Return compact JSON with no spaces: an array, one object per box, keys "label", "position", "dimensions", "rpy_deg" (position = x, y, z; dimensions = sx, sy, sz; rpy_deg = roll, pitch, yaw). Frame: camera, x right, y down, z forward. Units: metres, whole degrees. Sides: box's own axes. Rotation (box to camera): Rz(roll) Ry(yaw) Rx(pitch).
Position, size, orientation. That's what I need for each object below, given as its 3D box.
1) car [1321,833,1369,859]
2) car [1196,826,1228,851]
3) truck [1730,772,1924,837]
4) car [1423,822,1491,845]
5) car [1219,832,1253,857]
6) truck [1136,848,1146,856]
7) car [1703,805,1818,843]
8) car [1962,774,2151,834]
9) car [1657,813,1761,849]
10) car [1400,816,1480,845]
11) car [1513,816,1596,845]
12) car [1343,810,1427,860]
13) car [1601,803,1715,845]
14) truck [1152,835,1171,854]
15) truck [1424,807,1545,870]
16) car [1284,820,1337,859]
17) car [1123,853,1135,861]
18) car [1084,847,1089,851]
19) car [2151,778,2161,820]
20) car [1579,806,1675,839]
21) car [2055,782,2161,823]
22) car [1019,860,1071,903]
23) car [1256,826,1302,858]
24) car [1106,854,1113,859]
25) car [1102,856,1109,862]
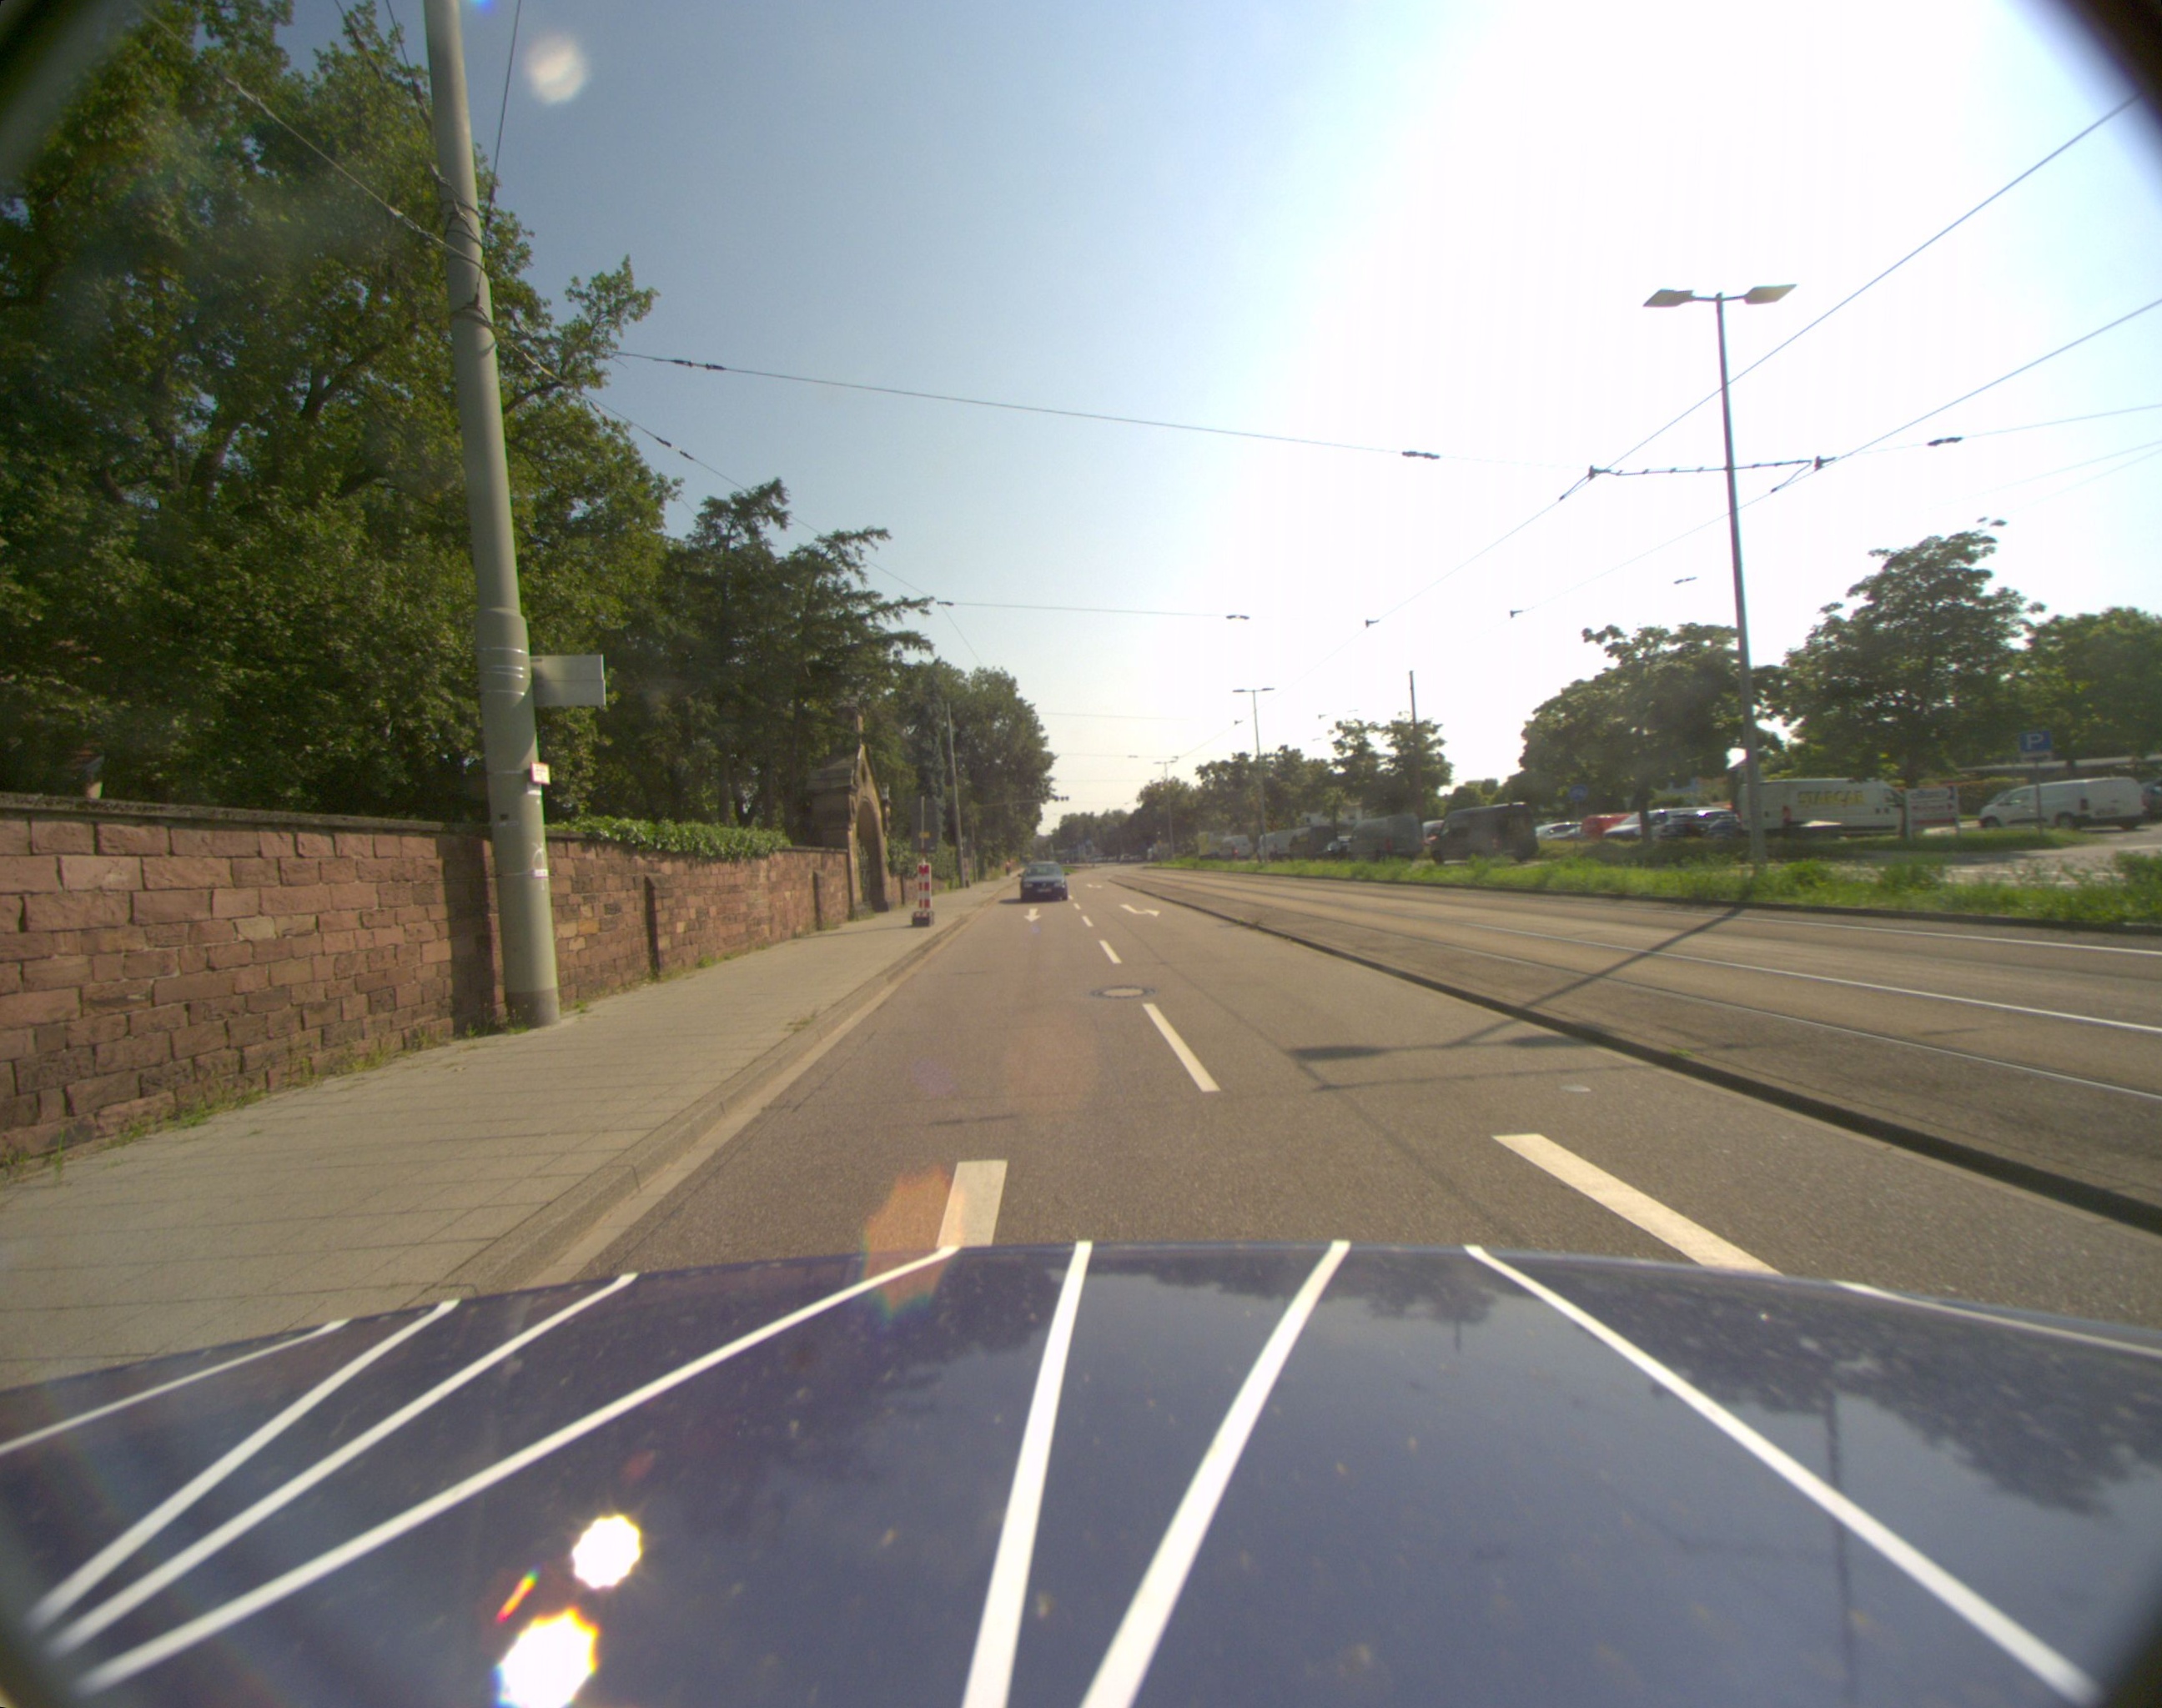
[{"label":"car","position":[17.527,-0.522,50.610],"dimensions":[1.749,1.543,3.833],"rpy_deg":[-5,0,0]},{"label":"car","position":[15.208,-1.745,88.794],"dimensions":[2.130,2.789,7.229],"rpy_deg":[-3,0,-2]},{"label":"truck","position":[28.922,-1.875,29.567],"dimensions":[5.505,2.160,2.259],"rpy_deg":[-3,1,-4]},{"label":"car","position":[27.406,-1.510,55.472],"dimensions":[3.998,1.442,1.857],"rpy_deg":[-3,1,-2]},{"label":"car","position":[16.132,-0.950,79.175],"dimensions":[2.149,2.444,4.830],"rpy_deg":[-3,0,-4]},{"label":"truck","position":[12.781,-0.466,160.994],"dimensions":[1.691,1.665,3.654],"rpy_deg":[-3,0,-2]},{"label":"car","position":[28.540,-1.235,31.973],"dimensions":[3.414,1.418,1.633],"rpy_deg":[-3,1,-4]},{"label":"car","position":[35.171,-1.733,27.623],"dimensions":[1.986,1.747,4.425],"rpy_deg":[-4,-1,17]},{"label":"car","position":[28.478,-1.020,34.493],"dimensions":[3.414,1.418,1.633],"rpy_deg":[-3,1,-4]},{"label":"car","position":[27.575,-1.784,58.456],"dimensions":[5.199,1.914,2.052],"rpy_deg":[-3,1,-4]},{"label":"car","position":[28.093,-1.365,45.128],"dimensions":[4.171,1.455,1.623],"rpy_deg":[-3,0,-12]},{"label":"car","position":[17.533,-1.036,44.276],"dimensions":[1.993,2.571,6.465],"rpy_deg":[-5,0,-1]},{"label":"car","position":[28.222,-1.453,37.220],"dimensions":[4.411,1.774,1.633],"rpy_deg":[-3,1,-4]},{"label":"truck","position":[13.987,-1.645,131.866],"dimensions":[2.279,3.103,8.786],"rpy_deg":[-3,0,0]},{"label":"truck","position":[18.015,-0.645,34.337],"dimensions":[2.087,2.533,5.737],"rpy_deg":[-3,0,-3]},{"label":"car","position":[17.062,-1.008,56.758],"dimensions":[1.827,2.571,5.909],"rpy_deg":[-5,0,-1]},{"label":"car","position":[8.924,0.568,142.787],"dimensions":[1.930,1.510,3.948],"rpy_deg":[-3,0,0]},{"label":"car","position":[1.834,-1.657,253.376],"dimensions":[1.551,1.575,3.454],"rpy_deg":[-3,0,-3]},{"label":"car","position":[41.402,-2.202,27.304],"dimensions":[3.456,1.493,1.876],"rpy_deg":[-6,1,-5]},{"label":"car","position":[28.661,-1.619,39.971],"dimensions":[3.934,1.509,1.633],"rpy_deg":[-3,1,-4]},{"label":"car","position":[40.933,-2.034,29.619],"dimensions":[3.714,1.335,1.491],"rpy_deg":[-4,0,5]},{"label":"car","position":[-1.317,0.978,28.849],"dimensions":[1.776,1.416,3.934],"rpy_deg":[-2,0,-1]},{"label":"car","position":[16.808,-1.003,64.786],"dimensions":[2.138,2.571,5.629],"rpy_deg":[-3,0,-2]},{"label":"car","position":[8.144,0.689,216.956],"dimensions":[1.551,1.575,3.454],"rpy_deg":[-3,0,-3]},{"label":"car","position":[7.186,1.438,222.865],"dimensions":[1.551,1.575,3.454],"rpy_deg":[-3,0,-3]}]
